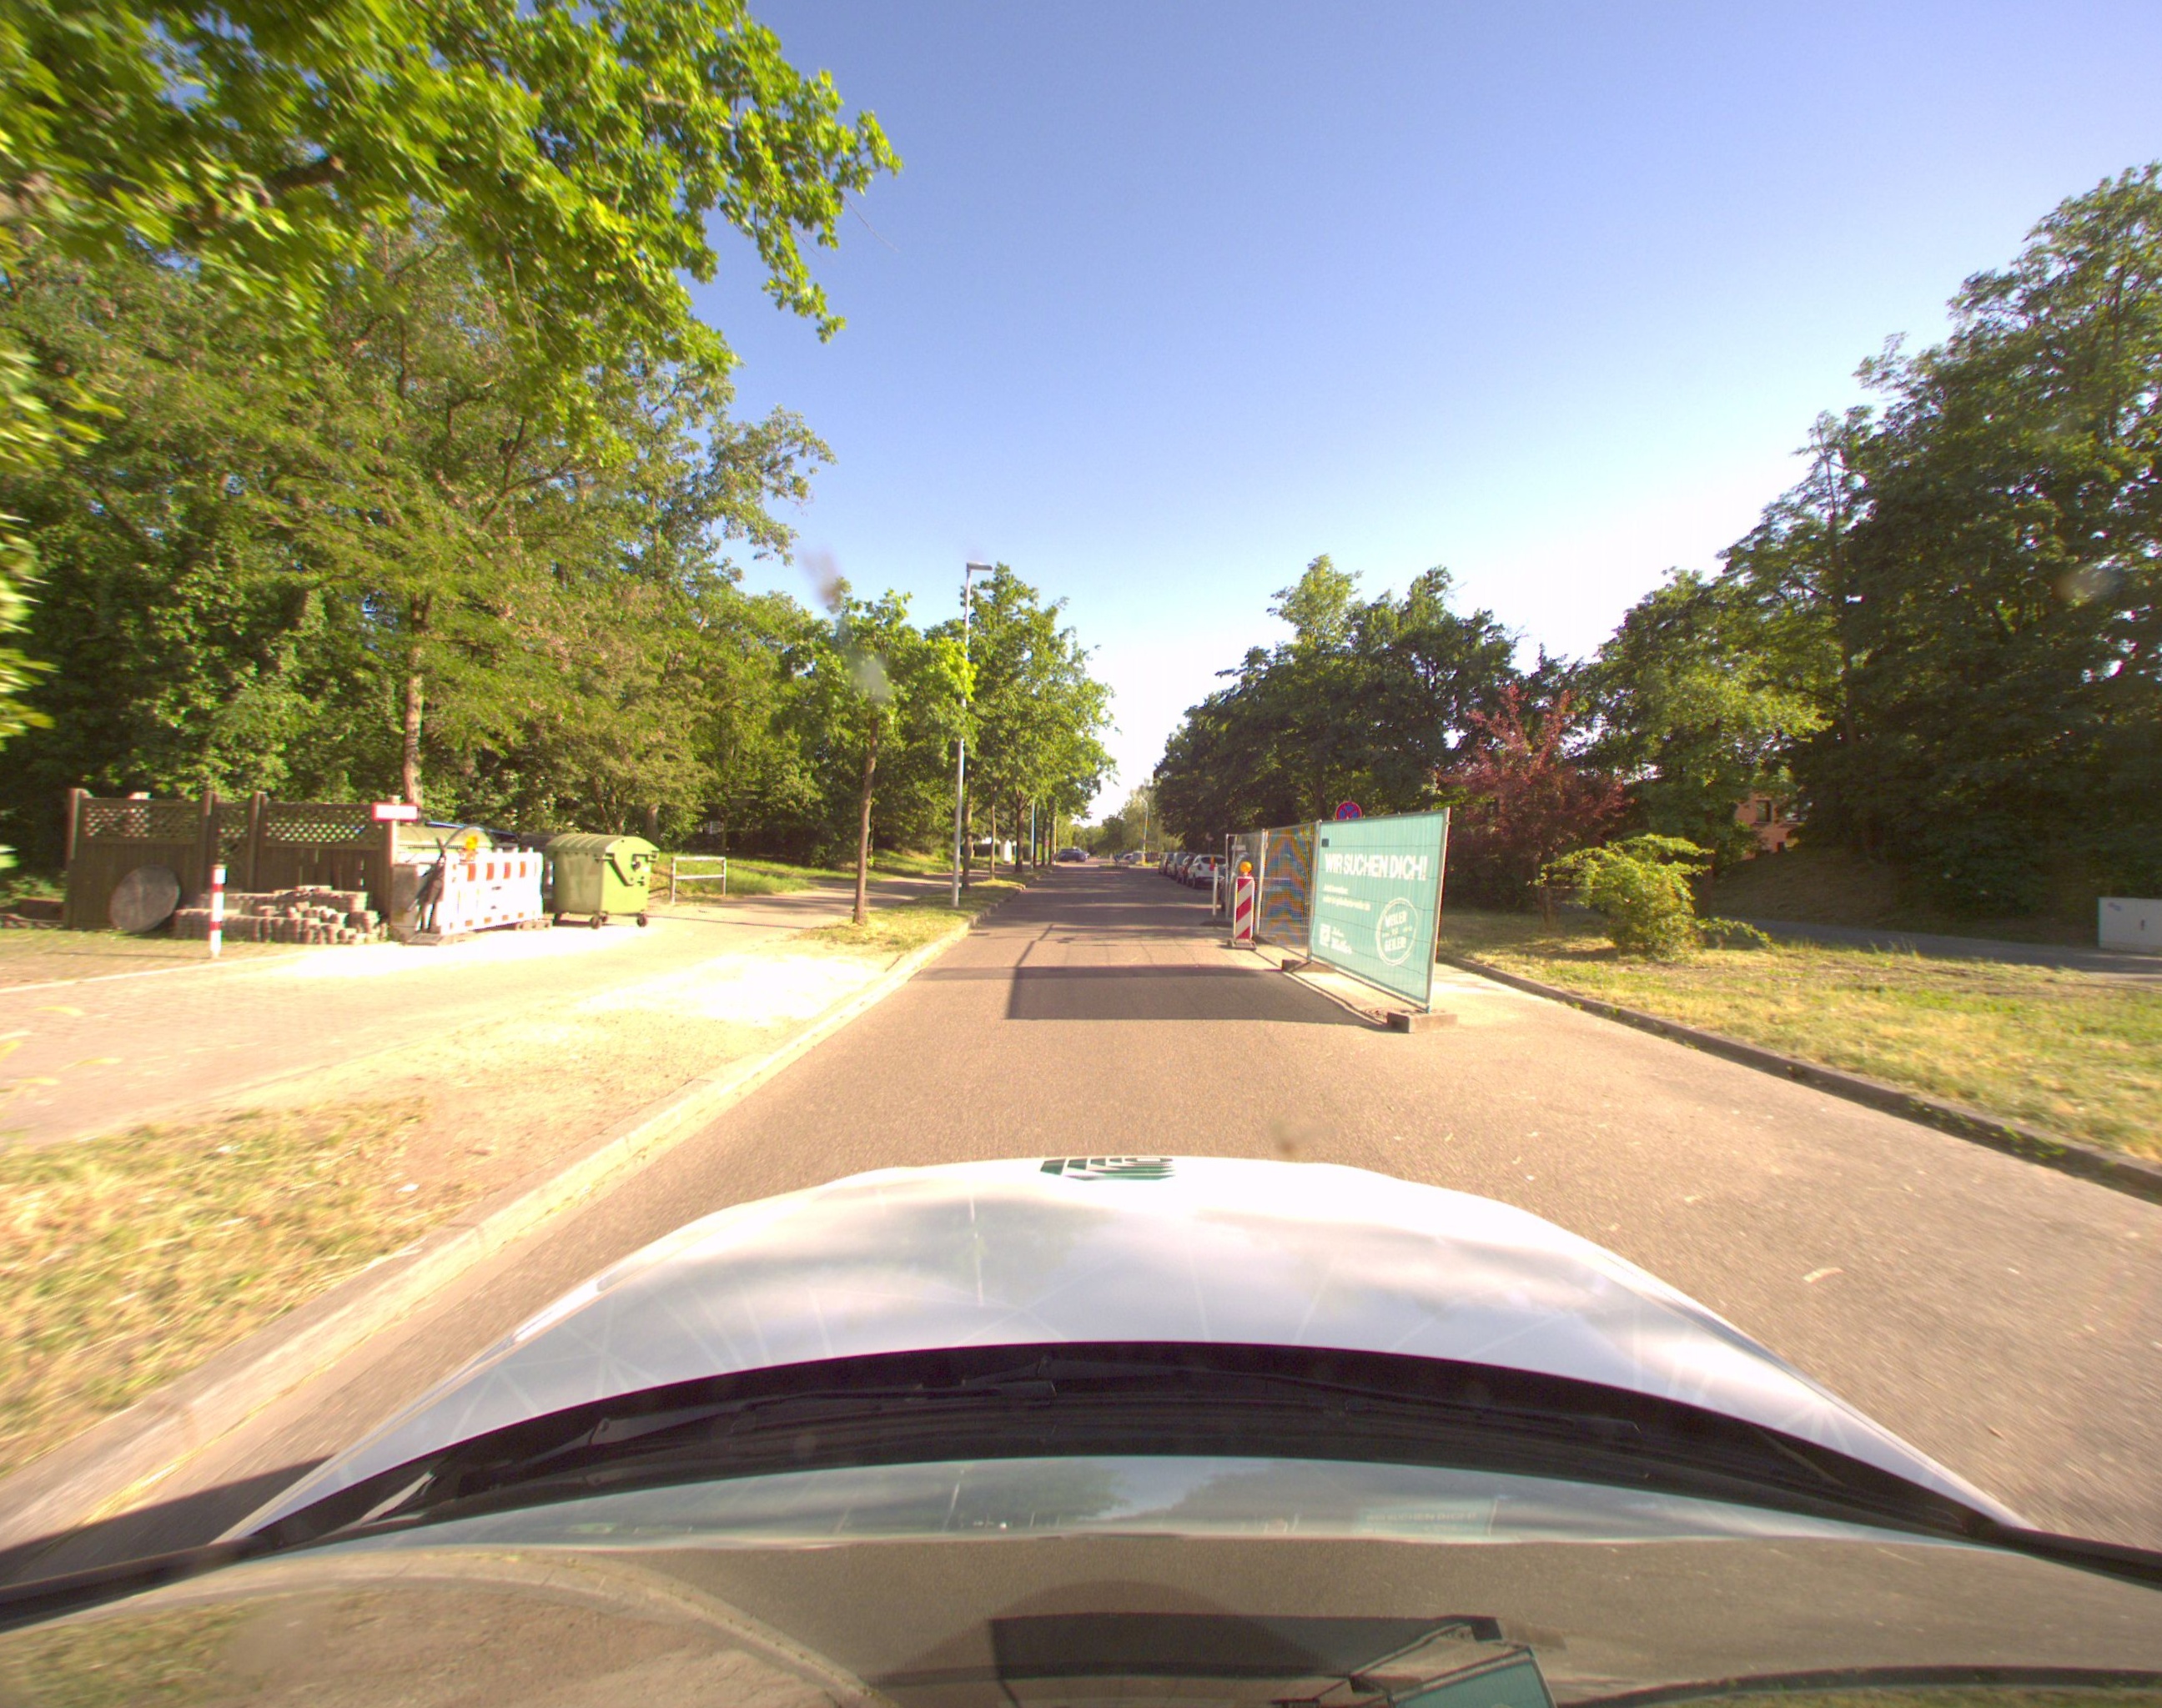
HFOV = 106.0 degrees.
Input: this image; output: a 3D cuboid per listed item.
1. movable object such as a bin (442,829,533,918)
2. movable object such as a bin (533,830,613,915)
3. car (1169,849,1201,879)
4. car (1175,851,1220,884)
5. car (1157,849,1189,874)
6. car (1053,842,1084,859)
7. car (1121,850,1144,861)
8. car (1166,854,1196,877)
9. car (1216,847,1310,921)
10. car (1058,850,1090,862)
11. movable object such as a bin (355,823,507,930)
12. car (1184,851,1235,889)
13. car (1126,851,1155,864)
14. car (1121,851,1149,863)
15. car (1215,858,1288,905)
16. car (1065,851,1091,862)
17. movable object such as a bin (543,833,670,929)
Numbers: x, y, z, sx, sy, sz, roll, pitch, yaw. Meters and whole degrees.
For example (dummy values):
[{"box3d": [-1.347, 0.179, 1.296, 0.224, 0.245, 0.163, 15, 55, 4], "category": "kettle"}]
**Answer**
[{"box3d": [-10.078, 0.314, 13.903, 1.149, 1.435, 1.260, 1, 0, -32], "category": "movable object such as a bin"}, {"box3d": [-9.153, 0.317, 14.697, 1.149, 1.435, 1.260, 1, 0, -32], "category": "movable object such as a bin"}, {"box3d": [6.651, 0.639, 52.416, 1.617, 1.773, 3.670, 3, 0, 1], "category": "car"}, {"box3d": [6.299, 0.715, 44.445, 1.770, 1.621, 4.064, 3, 0, 0], "category": "car"}, {"box3d": [7.149, 0.544, 63.674, 1.786, 1.785, 4.553, 3, 0, -2], "category": "car"}, {"box3d": [-2.159, -0.639, 143.007, 5.189, 2.621, 2.290, 3, 0, -4], "category": "car"}, {"box3d": [8.791, 0.221, 138.514, 3.817, 1.576, 1.692, 3, 0, 7], "category": "car"}, {"box3d": [7.013, 0.785, 57.527, 1.685, 1.512, 4.208, 3, 0, 1], "category": "car"}, {"box3d": [4.691, 0.718, 21.549, 1.801, 1.651, 4.427, 3, 0, 5], "category": "car"}, {"box3d": [-1.051, 0.277, 117.730, 4.294, 1.576, 2.050, 3, 0, 7], "category": "car"}, {"box3d": [-9.430, 0.298, 11.847, 1.257, 1.435, 1.334, 1, 0, 29], "category": "movable object such as a bin"}, {"box3d": [6.128, 0.717, 39.205, 1.770, 1.621, 4.064, 3, 0, 0], "category": "car"}, {"box3d": [8.271, 0.517, 113.077, 3.817, 1.576, 1.692, 3, 0, 7], "category": "car"}, {"box3d": [7.688, 0.431, 115.910, 3.817, 1.576, 1.692, 3, 0, 7], "category": "car"}, {"box3d": [5.739, 0.878, 27.935, 1.655, 1.375, 4.156, 3, 0, 1], "category": "car"}, {"box3d": [-0.468, 0.366, 134.032, 4.090, 1.576, 1.960, 3, 0, 3], "category": "car"}, {"box3d": [-7.567, 0.403, 13.032, 1.259, 1.435, 1.187, 1, 0, 17], "category": "movable object such as a bin"}]
